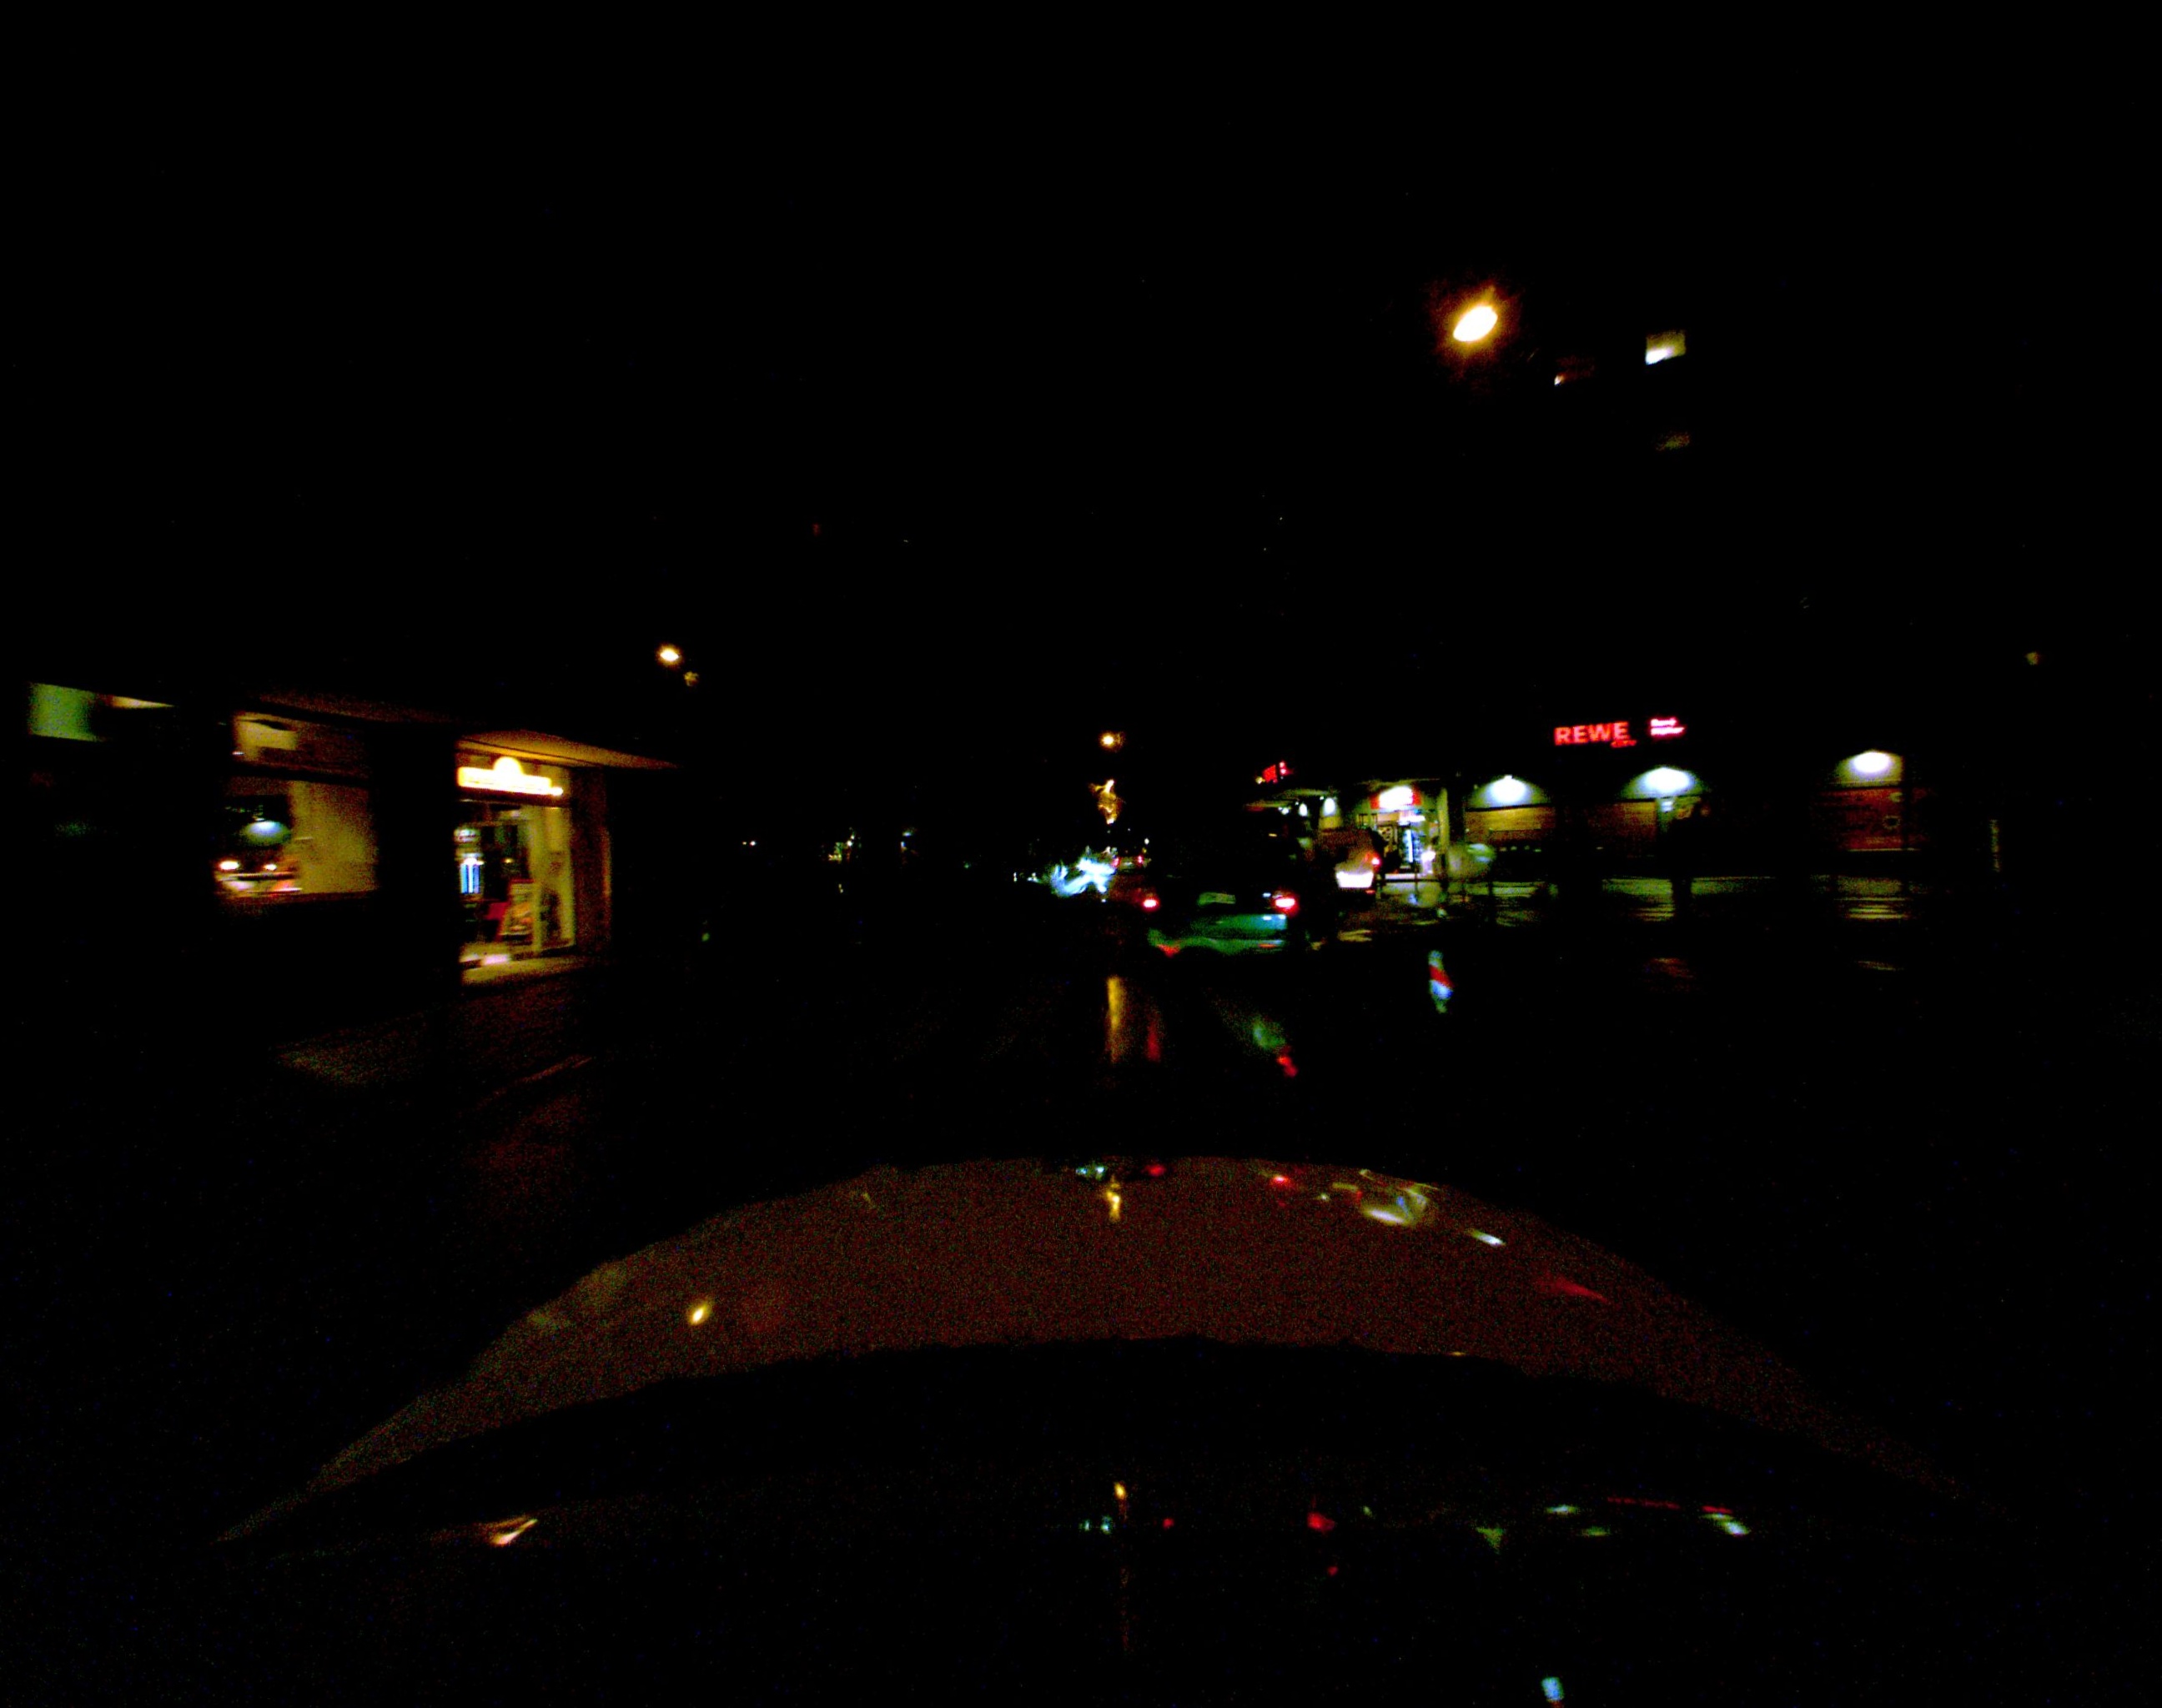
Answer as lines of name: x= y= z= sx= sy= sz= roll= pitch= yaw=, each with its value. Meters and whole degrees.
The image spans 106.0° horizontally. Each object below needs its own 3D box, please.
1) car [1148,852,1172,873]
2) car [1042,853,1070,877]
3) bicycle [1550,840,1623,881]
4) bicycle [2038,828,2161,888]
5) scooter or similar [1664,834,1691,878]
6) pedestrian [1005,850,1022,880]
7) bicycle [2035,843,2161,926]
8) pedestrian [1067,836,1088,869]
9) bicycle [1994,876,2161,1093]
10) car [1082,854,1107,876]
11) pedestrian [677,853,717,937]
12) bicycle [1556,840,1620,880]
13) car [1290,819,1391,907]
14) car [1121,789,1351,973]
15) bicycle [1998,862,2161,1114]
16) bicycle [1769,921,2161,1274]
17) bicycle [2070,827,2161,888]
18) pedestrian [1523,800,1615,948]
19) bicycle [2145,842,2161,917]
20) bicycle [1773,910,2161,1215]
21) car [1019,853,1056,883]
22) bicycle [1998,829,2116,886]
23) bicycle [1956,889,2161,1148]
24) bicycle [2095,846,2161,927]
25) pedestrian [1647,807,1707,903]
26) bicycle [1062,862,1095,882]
car: x=5.924 y=0.630 z=61.155 sx=1.585 sy=1.543 sz=3.422 roll=-1 pitch=-1 yaw=2
car: x=-1.596 y=0.698 z=53.029 sx=1.580 sy=1.449 sz=3.505 roll=-1 pitch=0 yaw=2
bicycle: x=14.738 y=0.197 z=23.795 sx=1.764 sy=1.174 sz=0.386 roll=-2 pitch=0 yaw=30
bicycle: x=20.444 y=0.077 z=16.357 sx=1.953 sy=1.176 sz=0.452 roll=0 pitch=-1 yaw=-1
scooter or similar: x=17.310 y=0.041 z=23.646 sx=0.520 sy=1.229 sz=1.321 roll=-1 pitch=1 yaw=32
pedestrian: x=-4.119 y=0.672 z=49.802 sx=0.799 sy=1.766 sz=1.018 roll=0 pitch=-1 yaw=8
bicycle: x=13.778 y=0.377 z=11.008 sx=0.449 sy=1.008 sz=1.821 roll=-2 pitch=0 yaw=27
pedestrian: x=-0.203 y=-0.072 z=46.141 sx=1.117 sy=1.811 sz=0.715 roll=-2 pitch=0 yaw=2
bicycle: x=5.441 y=0.618 z=3.714 sx=0.336 sy=1.026 sz=1.633 roll=-3 pitch=-1 yaw=-24
car: x=0.984 y=0.765 z=58.864 sx=1.556 sy=1.427 sz=4.073 roll=-3 pitch=0 yaw=3
pedestrian: x=-9.038 y=0.953 z=19.157 sx=0.658 sy=1.909 sz=0.621 roll=-2 pitch=0 yaw=-40
bicycle: x=15.324 y=0.196 z=24.654 sx=1.626 sy=1.174 sz=0.386 roll=0 pitch=-2 yaw=30
car: x=6.374 y=0.200 z=20.477 sx=2.107 sy=1.922 sz=4.845 roll=-1 pitch=0 yaw=14
car: x=2.391 y=0.298 z=11.314 sx=2.103 sy=1.991 sz=4.627 roll=-1 pitch=0 yaw=24
bicycle: x=5.019 y=0.588 z=3.332 sx=0.336 sy=1.092 sz=1.633 roll=-3 pitch=1 yaw=-24
bicycle: x=3.370 y=0.778 z=2.688 sx=0.338 sy=1.026 sz=1.626 roll=-3 pitch=1 yaw=-44
bicycle: x=20.476 y=0.073 z=15.851 sx=1.953 sy=1.176 sz=0.452 roll=0 pitch=-1 yaw=-1
pedestrian: x=6.065 y=0.243 z=10.152 sx=0.820 sy=1.771 sz=0.602 roll=-1 pitch=0 yaw=14
bicycle: x=14.608 y=0.362 z=10.455 sx=0.375 sy=1.008 sz=1.821 roll=-2 pitch=0 yaw=27
bicycle: x=3.723 y=0.740 z=3.050 sx=0.338 sy=1.026 sz=1.626 roll=-3 pitch=-2 yaw=-43
car: x=-2.278 y=0.721 z=43.843 sx=1.580 sy=1.463 sz=4.026 roll=1 pitch=0 yaw=2
bicycle: x=20.414 y=0.084 z=17.045 sx=1.953 sy=1.176 sz=0.452 roll=0 pitch=-1 yaw=-1
bicycle: x=4.606 y=0.641 z=3.103 sx=0.337 sy=1.027 sz=1.631 roll=-1 pitch=-4 yaw=-27
bicycle: x=14.215 y=0.422 z=10.689 sx=0.398 sy=1.008 sz=1.821 roll=-2 pitch=0 yaw=27
pedestrian: x=11.900 y=0.024 z=16.256 sx=0.867 sy=1.833 sz=0.990 roll=-2 pitch=-1 yaw=38
bicycle: x=-0.149 y=0.997 z=46.137 sx=1.788 sy=1.059 sz=0.715 roll=-2 pitch=0 yaw=2
